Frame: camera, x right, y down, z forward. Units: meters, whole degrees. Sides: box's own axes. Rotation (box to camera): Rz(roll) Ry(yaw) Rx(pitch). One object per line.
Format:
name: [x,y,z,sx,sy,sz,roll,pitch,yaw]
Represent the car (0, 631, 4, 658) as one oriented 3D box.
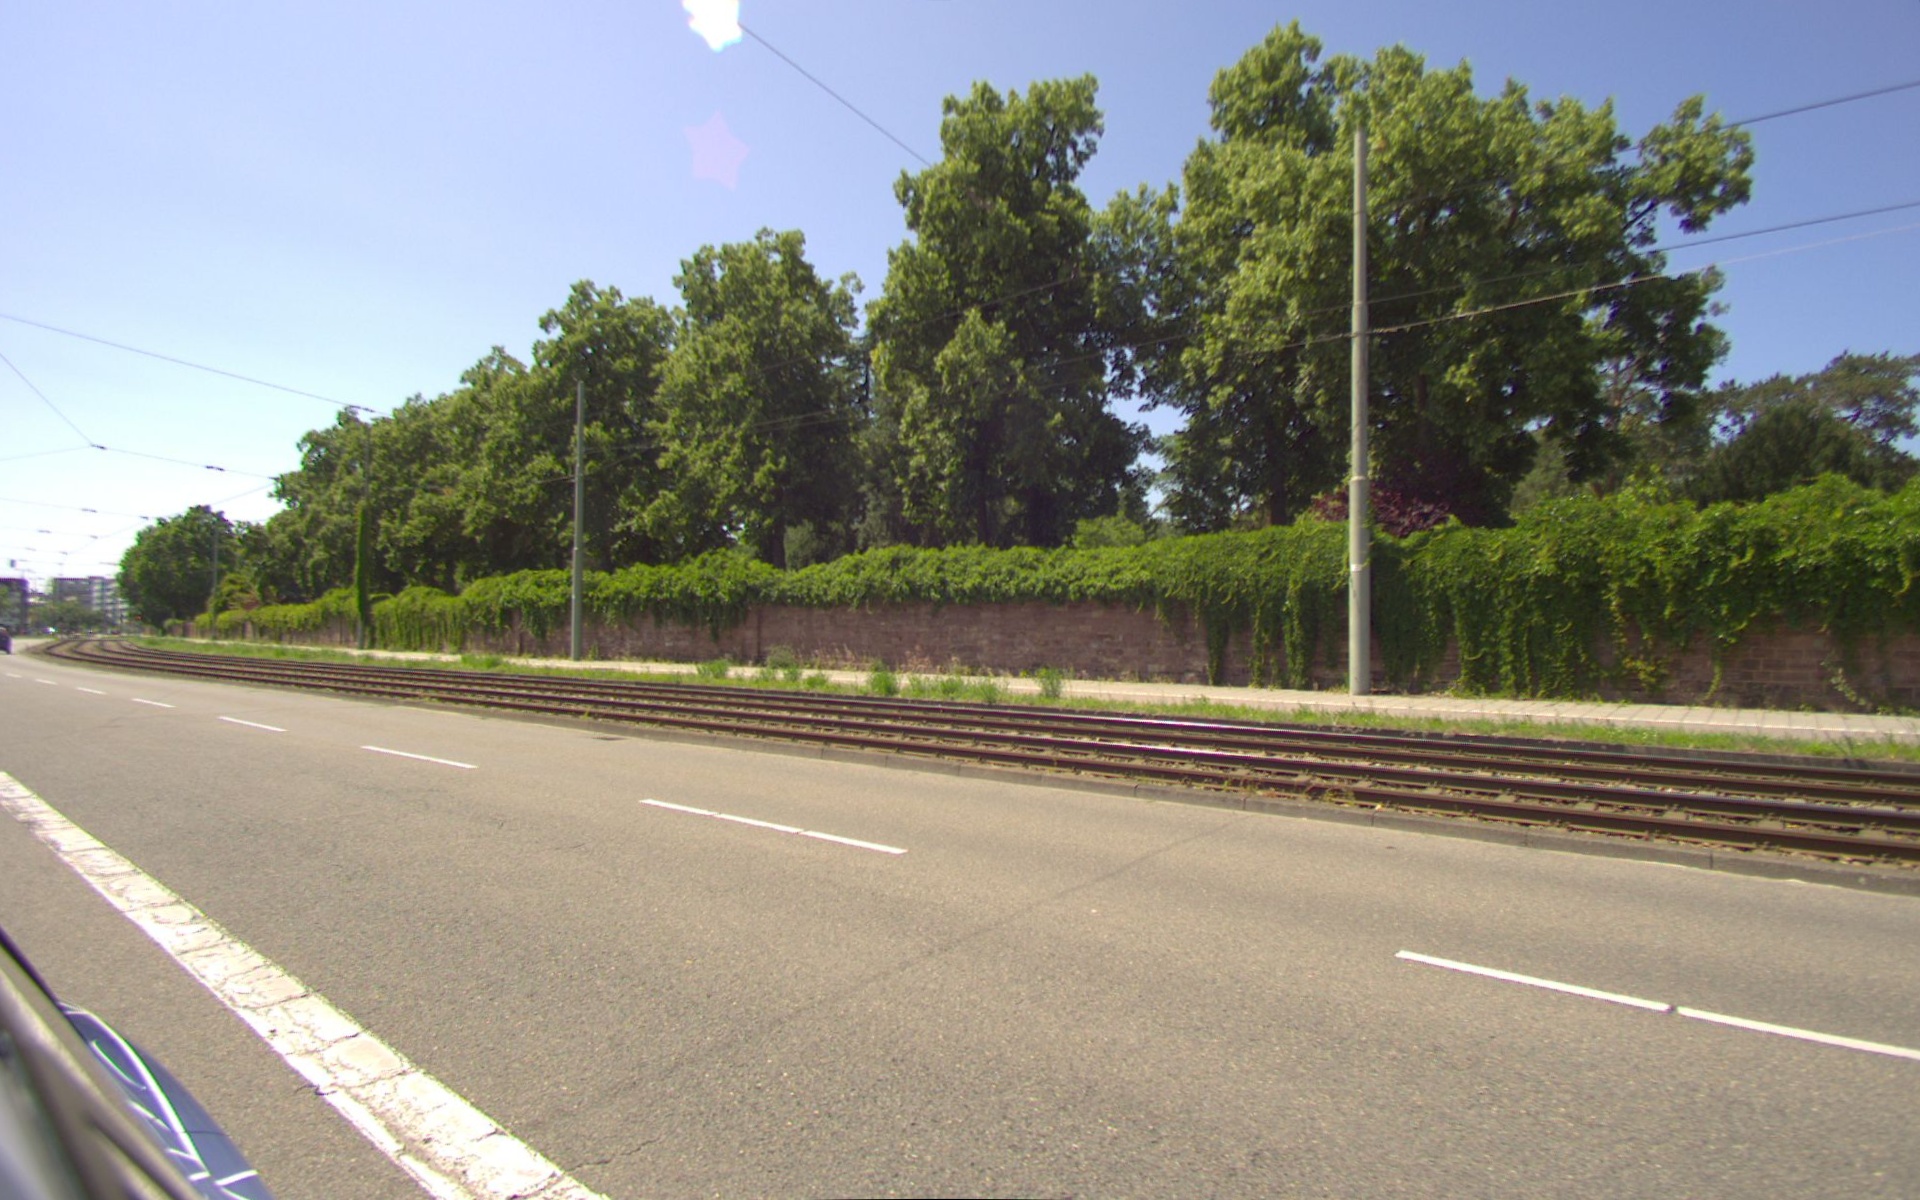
car: [-54.300,2.480,56.110,4.001,1.480,1.673,-2,-2,44]
